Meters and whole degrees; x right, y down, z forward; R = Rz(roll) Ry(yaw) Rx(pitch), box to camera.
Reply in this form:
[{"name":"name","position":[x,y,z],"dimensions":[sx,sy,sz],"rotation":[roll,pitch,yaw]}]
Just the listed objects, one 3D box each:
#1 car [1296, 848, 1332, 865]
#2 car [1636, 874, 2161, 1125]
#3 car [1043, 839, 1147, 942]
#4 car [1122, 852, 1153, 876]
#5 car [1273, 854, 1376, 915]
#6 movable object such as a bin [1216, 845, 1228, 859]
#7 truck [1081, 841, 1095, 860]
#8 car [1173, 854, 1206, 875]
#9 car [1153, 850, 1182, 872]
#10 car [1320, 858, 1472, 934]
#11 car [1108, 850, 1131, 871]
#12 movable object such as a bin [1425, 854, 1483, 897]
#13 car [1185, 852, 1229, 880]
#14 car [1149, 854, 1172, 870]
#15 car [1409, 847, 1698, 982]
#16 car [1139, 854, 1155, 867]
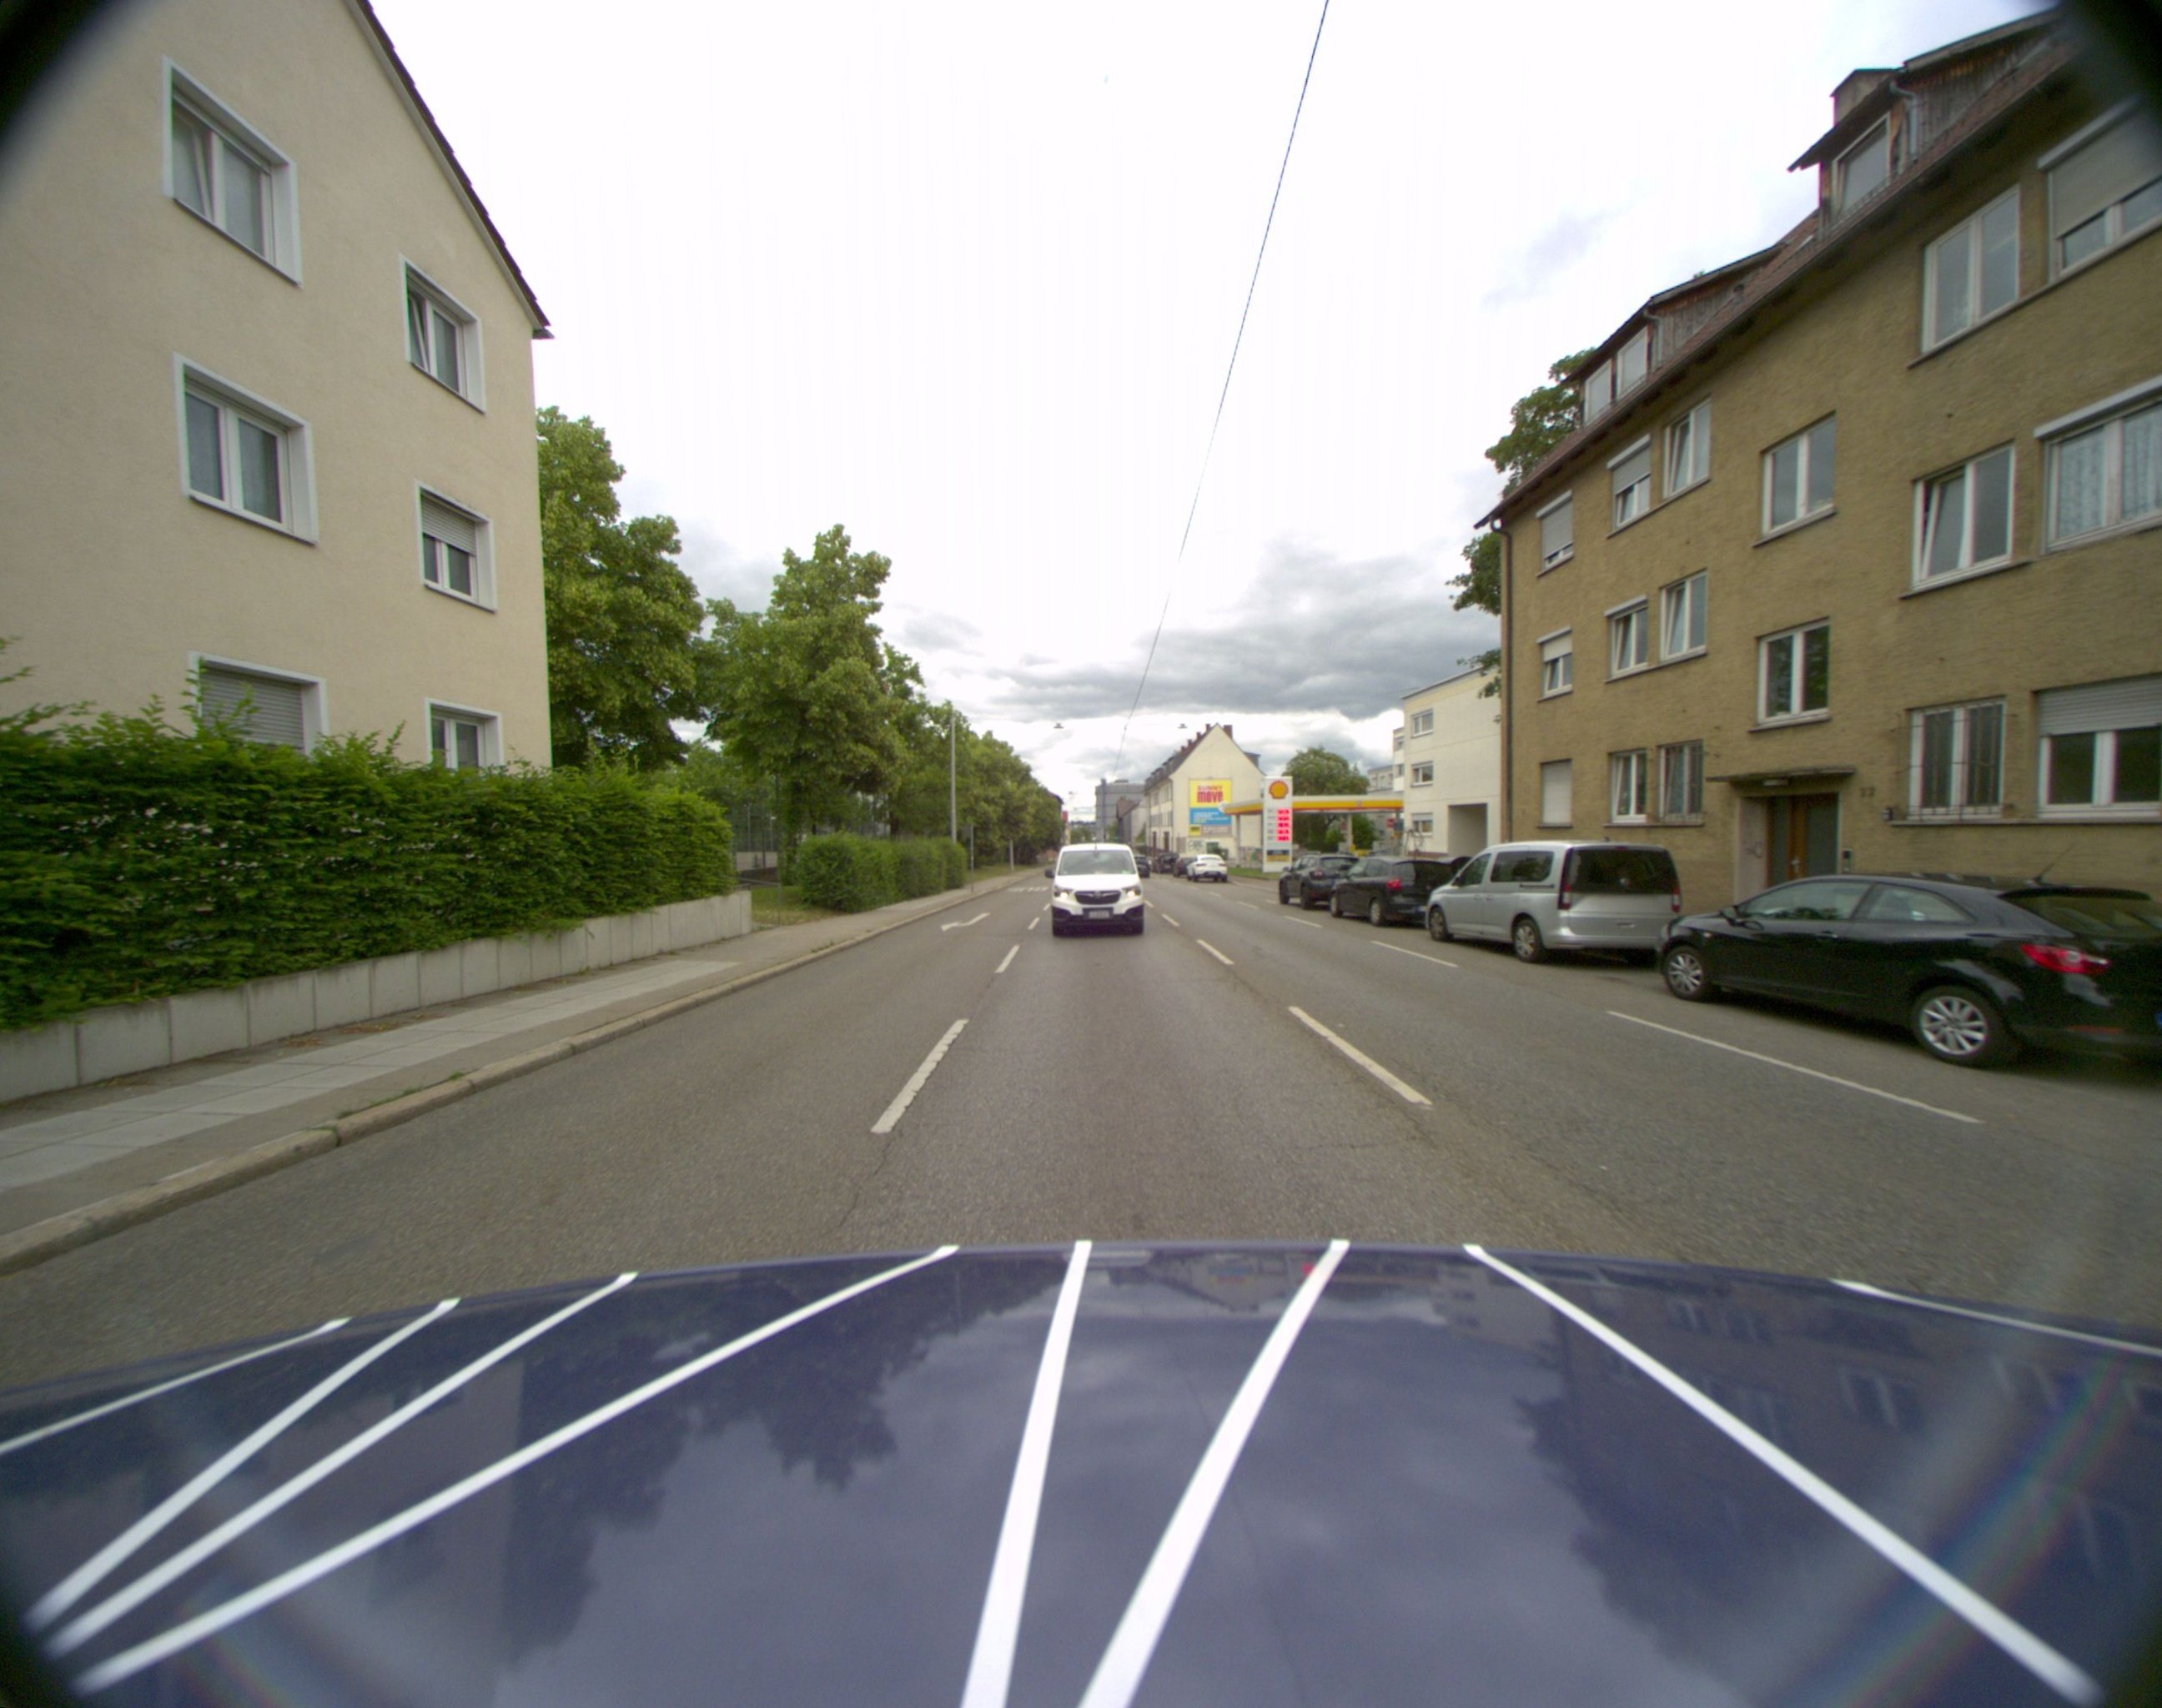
[{"name":"car","position":[20.313,0.201,66.477],"dimensions":[1.802,1.412,4.416],"rotation":[-2,0,0]},{"name":"car","position":[7.162,0.959,6.642],"dimensions":[1.750,1.431,3.913],"rotation":[1,0,0]},{"name":"car","position":[0.283,0.728,15.977],"dimensions":[1.850,1.831,4.285],"rotation":[-1,-1,1]},{"name":"car","position":[3.885,0.664,52.988],"dimensions":[1.845,1.581,4.163],"rotation":[0,0,0]},{"name":"car","position":[7.222,0.836,22.990],"dimensions":[1.787,1.600,4.265],"rotation":[1,0,2]},{"name":"movable object such as a bin","position":[16.409,-0.242,88.509],"dimensions":[1.268,1.529,1.104],"rotation":[1,0,0]},{"name":"truck","position":[1.338,-0.551,141.995],"dimensions":[2.545,3.478,8.521],"rotation":[0,0,1]},{"name":"car","position":[7.660,0.744,54.011],"dimensions":[1.802,1.423,4.744],"rotation":[0,0,3]},{"name":"car","position":[7.444,0.559,65.687],"dimensions":[1.856,1.824,4.701],"rotation":[0,0,-1]},{"name":"car","position":[7.152,0.881,17.748],"dimensions":[1.756,1.521,4.098],"rotation":[0,0,-2]},{"name":"car","position":[3.576,0.623,71.934],"dimensions":[1.936,1.889,4.589],"rotation":[0,0,0]},{"name":"movable object such as a bin","position":[12.741,0.712,25.972],"dimensions":[1.284,1.420,1.279],"rotation":[-2,0,-4]},{"name":"car","position":[7.390,0.687,44.984],"dimensions":[1.920,1.568,4.700],"rotation":[0,0,1]},{"name":"car","position":[7.420,0.737,71.291],"dimensions":[1.795,1.441,4.218],"rotation":[0,0,0]},{"name":"car","position":[7.131,0.787,12.162],"dimensions":[1.781,1.743,4.557],"rotation":[0,0,0]},{"name":"car","position":[7.695,0.763,89.328],"dimensions":[1.623,1.417,3.665],"rotation":[0,0,1]}]
